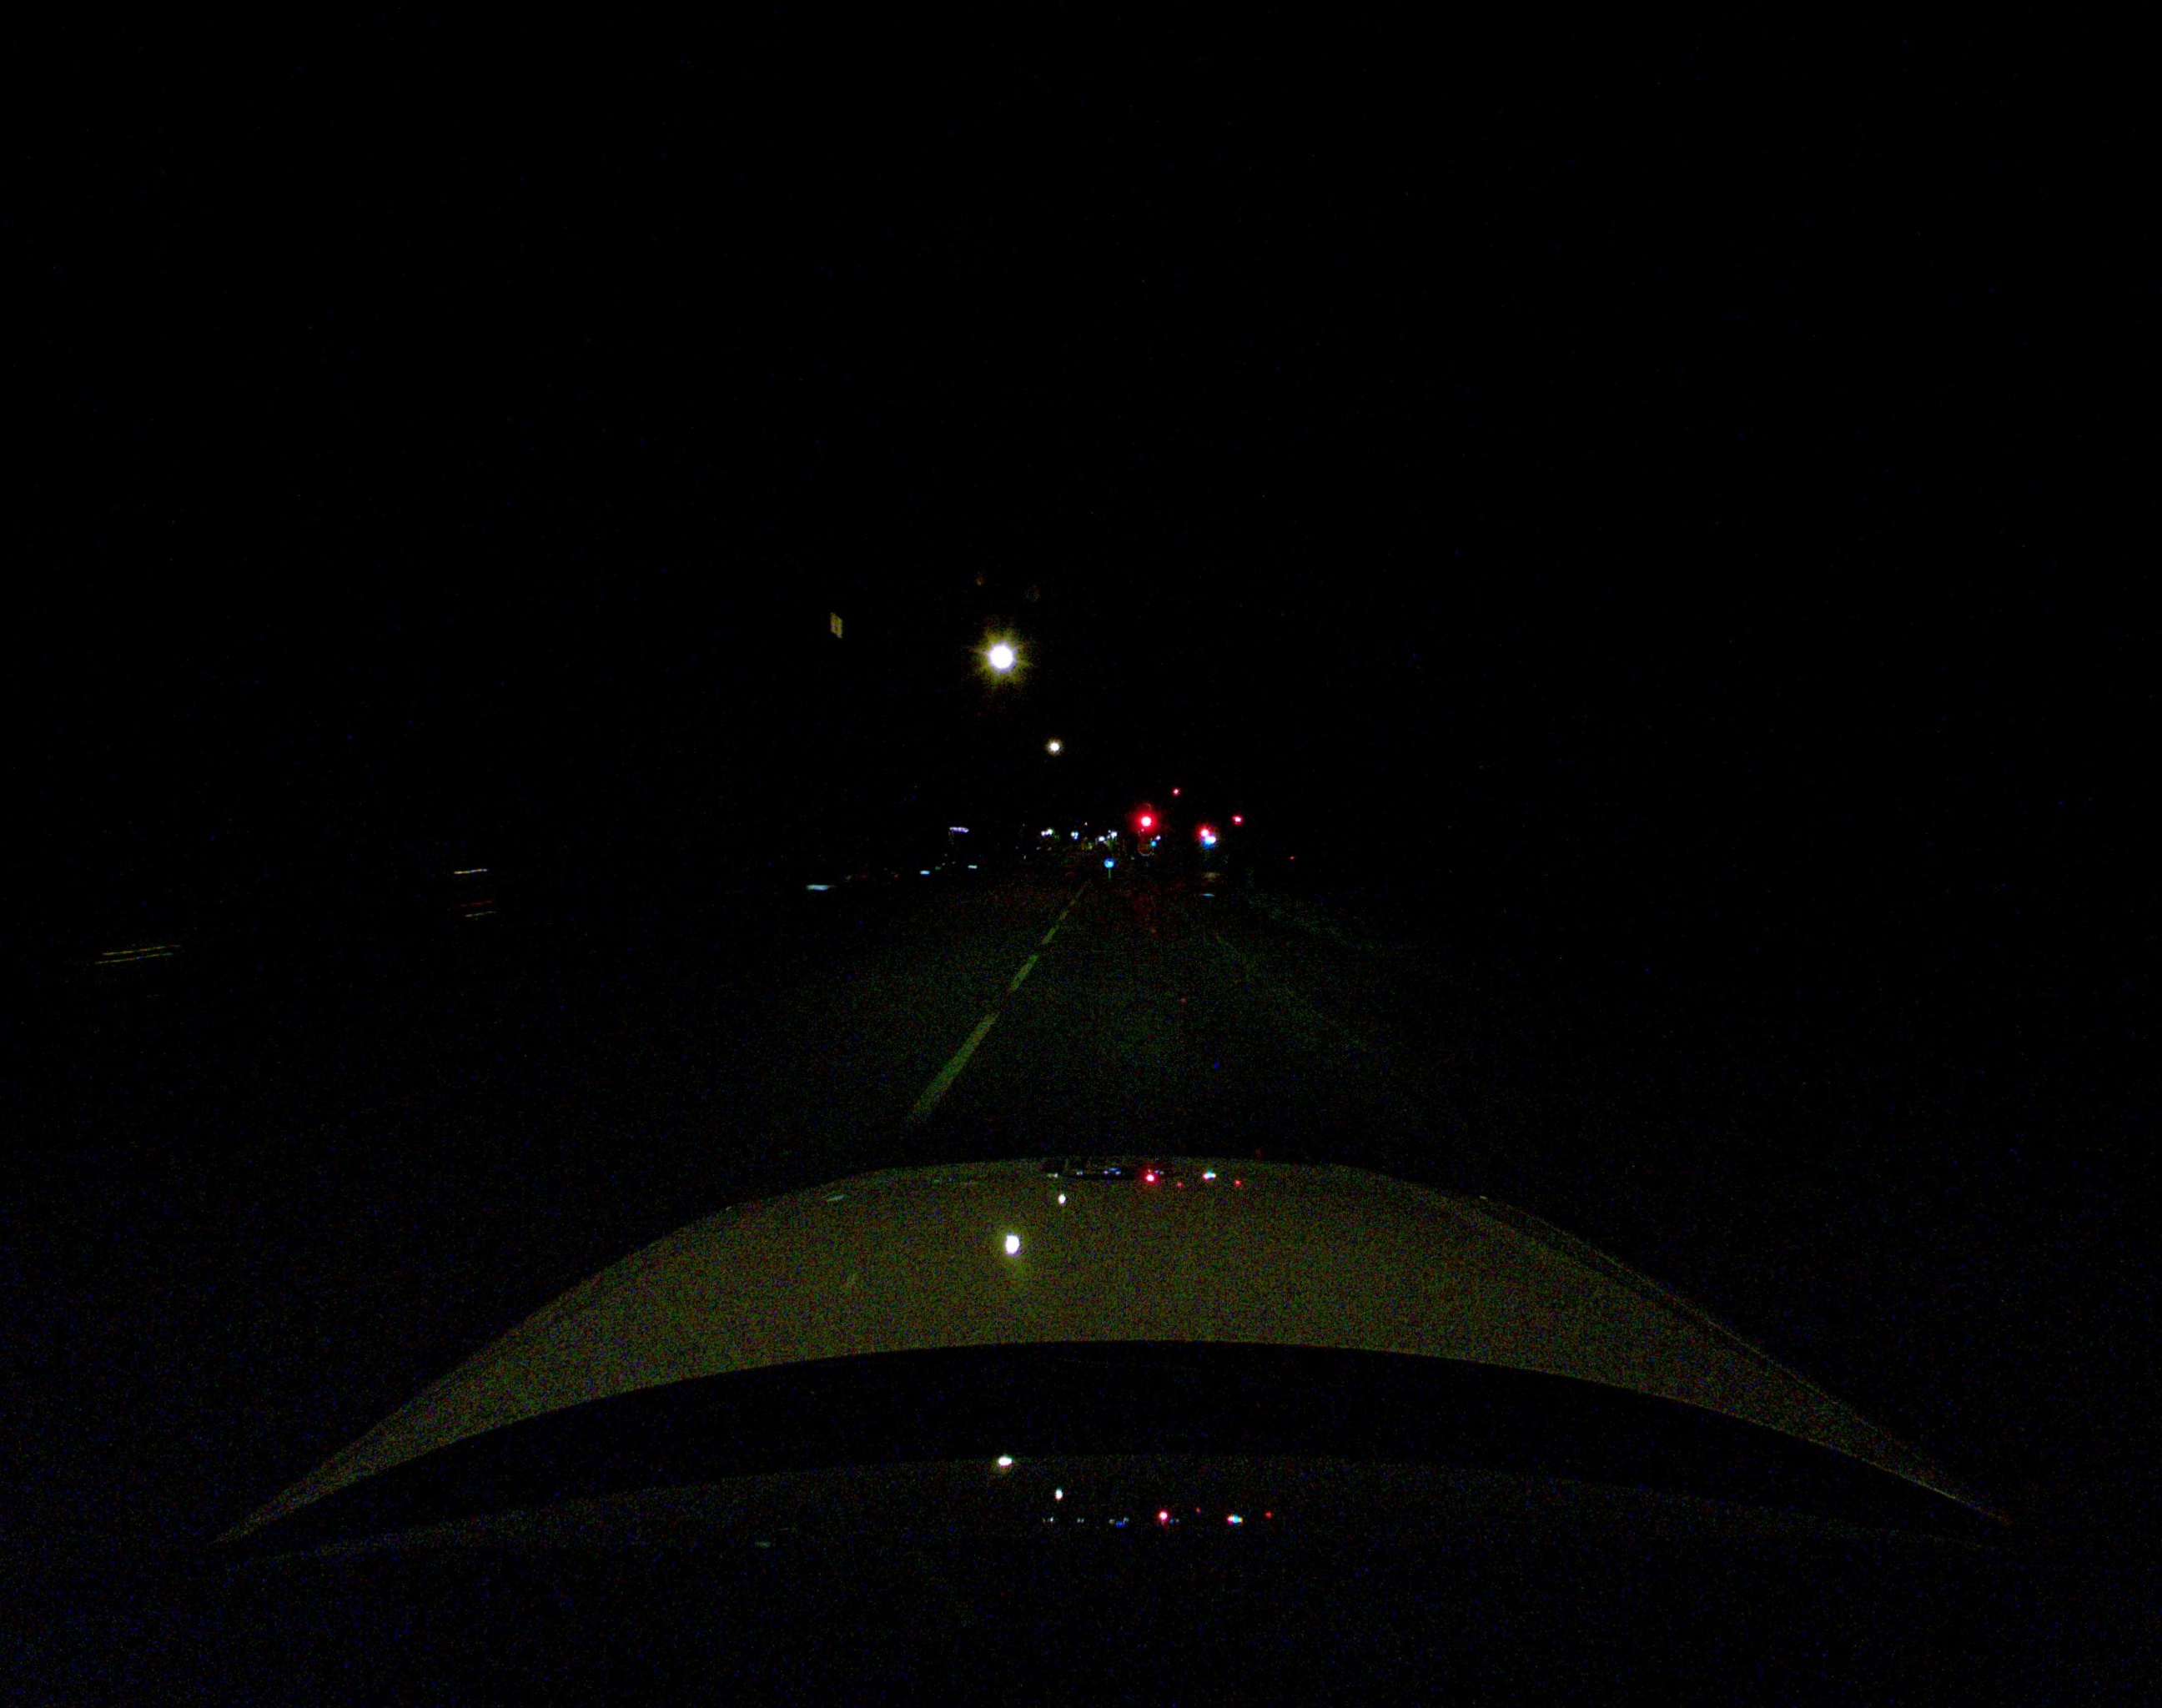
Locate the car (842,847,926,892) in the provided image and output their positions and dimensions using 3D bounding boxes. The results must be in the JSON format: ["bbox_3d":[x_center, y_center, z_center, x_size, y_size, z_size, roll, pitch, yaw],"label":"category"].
[{"bbox_3d":[-6.944,0.501,29.250,1.762,1.485,4.865,0,0,1],"label":"car"}]

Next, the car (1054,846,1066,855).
[{"bbox_3d":[-3.424,-0.652,133.062,1.645,1.431,4.002,0,0,2],"label":"car"}]

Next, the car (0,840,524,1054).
[{"bbox_3d":[-7.645,0.646,7.840,1.708,1.494,3.991,1,1,1],"label":"car"}]

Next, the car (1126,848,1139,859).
[{"bbox_3d":[6.841,-0.047,108.672,1.644,1.431,4.004,0,0,3],"label":"car"}]

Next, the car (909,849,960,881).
[{"bbox_3d":[-6.704,0.463,37.591,1.617,1.382,4.450,0,0,-1],"label":"car"}]

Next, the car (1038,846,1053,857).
[{"bbox_3d":[-4.585,-0.302,106.436,1.645,1.431,4.002,0,0,2],"label":"car"}]

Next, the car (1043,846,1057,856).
[{"bbox_3d":[-4.299,-0.397,112.445,1.645,1.431,4.002,0,0,2],"label":"car"}]

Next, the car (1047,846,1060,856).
[{"bbox_3d":[-3.984,-0.481,119.329,1.645,1.431,4.002,0,0,2],"label":"car"}]

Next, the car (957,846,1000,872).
[{"bbox_3d":[-6.331,0.273,50.683,1.892,1.471,4.455,2,1,2],"label":"car"}]

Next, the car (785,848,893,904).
[{"bbox_3d":[-7.007,0.571,24.164,1.762,1.485,4.767,0,0,0],"label":"car"}]

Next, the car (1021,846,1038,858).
[{"bbox_3d":[-6.167,-0.282,98.567,1.645,1.431,4.002,0,0,2],"label":"car"}]

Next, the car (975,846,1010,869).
[{"bbox_3d":[-6.035,0.238,55.744,1.797,1.481,4.324,1,0,1],"label":"car"}]
